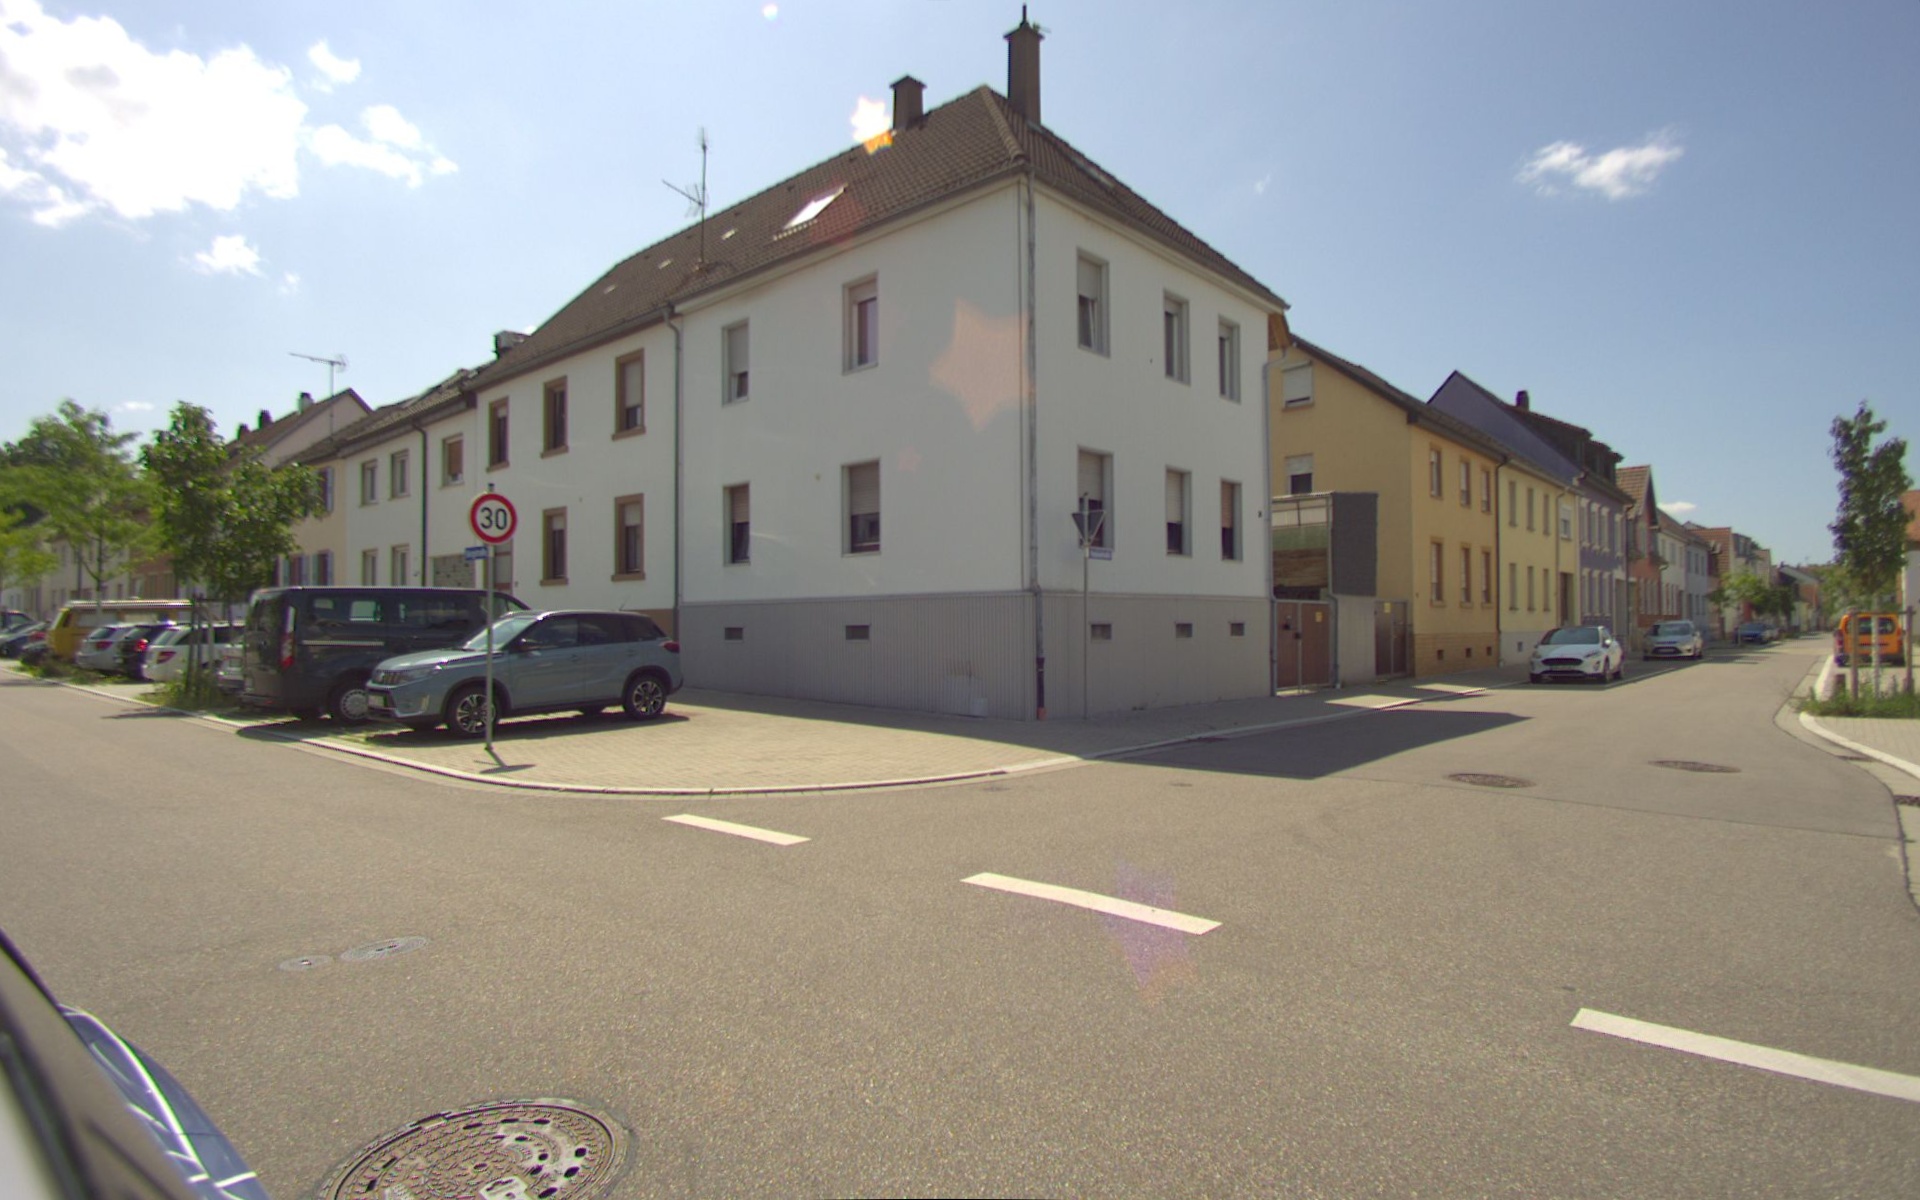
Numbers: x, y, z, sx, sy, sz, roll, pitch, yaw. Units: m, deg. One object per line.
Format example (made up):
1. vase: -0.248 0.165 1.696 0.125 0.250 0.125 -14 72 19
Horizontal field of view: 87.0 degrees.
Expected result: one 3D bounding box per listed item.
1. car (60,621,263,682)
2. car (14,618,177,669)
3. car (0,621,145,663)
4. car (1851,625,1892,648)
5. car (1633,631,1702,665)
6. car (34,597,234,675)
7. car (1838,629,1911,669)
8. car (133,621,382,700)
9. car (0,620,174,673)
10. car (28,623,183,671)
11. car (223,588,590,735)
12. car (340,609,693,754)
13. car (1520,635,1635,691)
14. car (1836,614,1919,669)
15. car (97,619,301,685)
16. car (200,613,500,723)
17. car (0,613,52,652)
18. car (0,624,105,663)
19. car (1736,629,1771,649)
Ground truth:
1. car: -21.699 1.338 27.665 1.748 1.479 4.040 -1 -1 32
2. car: -30.770 1.497 36.128 1.841 1.623 4.210 -1 -1 40
3. car: -35.452 1.635 40.324 1.773 1.489 4.363 -1 -1 37
4. car: 60.765 2.446 67.494 1.891 1.376 3.944 -4 -3 42
5. car: 29.642 2.002 42.359 1.891 1.313 3.944 -3 -3 42
6. car: -24.982 1.024 30.739 1.924 2.194 4.462 -1 -1 40
7. car: 34.434 1.828 38.151 1.891 1.376 3.944 -4 -3 42
8. car: -15.422 1.249 22.394 1.774 1.479 4.249 0 0 42
9. car: -27.233 1.397 31.627 1.754 1.470 3.969 -1 -1 40
10. car: -28.815 1.533 34.216 1.753 1.470 3.755 -1 -1 38
11. car: -8.422 0.801 15.788 1.936 1.937 4.652 0 0 40
12. car: -5.981 0.976 14.038 1.771 1.631 4.132 0 0 40
13. car: 16.449 1.633 26.892 1.891 1.313 3.944 -3 -3 42
14. car: 31.147 1.385 34.412 1.891 1.742 3.944 -4 -3 42
15. car: -19.358 1.269 25.903 1.654 1.479 3.849 0 0 32
16. car: -10.471 1.069 17.649 1.771 1.580 4.144 0 0 37
17. car: -50.290 1.698 52.549 1.953 2.011 4.563 -1 -1 42
18. car: -38.077 1.765 41.745 1.773 1.489 4.015 -1 -1 38
19. car: 55.700 2.716 71.020 1.659 1.313 4.094 -3 -3 42
